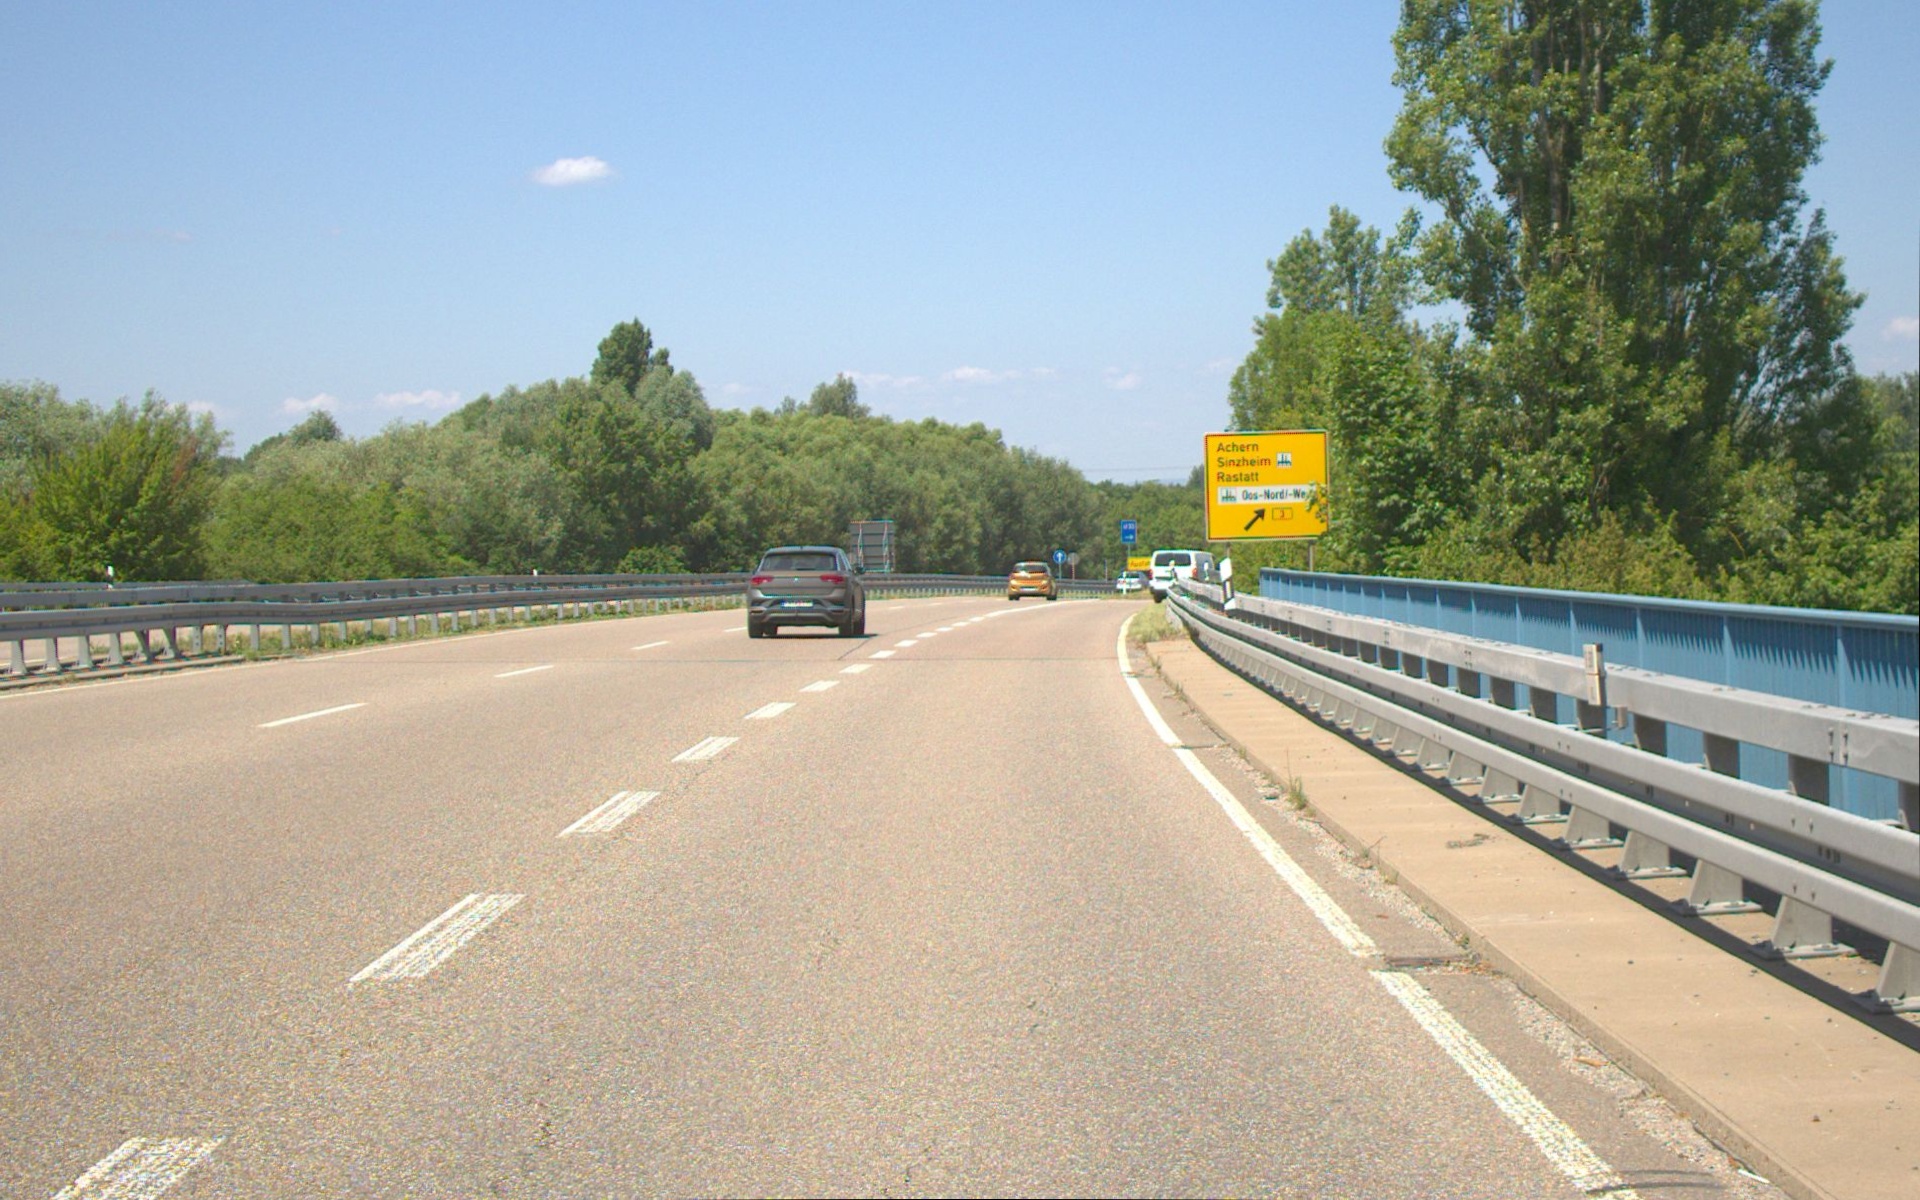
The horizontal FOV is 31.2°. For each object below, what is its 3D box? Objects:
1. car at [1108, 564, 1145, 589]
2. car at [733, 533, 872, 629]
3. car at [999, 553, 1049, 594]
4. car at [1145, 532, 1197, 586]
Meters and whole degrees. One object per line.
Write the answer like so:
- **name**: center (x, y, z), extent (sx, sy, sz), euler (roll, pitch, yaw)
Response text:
- **car**: center (10.109, -1.427, 208.209), extent (1.842, 1.446, 3.999), euler (1, 2, 8)
- **car**: center (-2.667, -0.358, 59.164), extent (1.841, 1.524, 4.469), euler (1, 2, 5)
- **car**: center (2.507, -1.038, 133.465), extent (1.841, 1.459, 4.000), euler (1, 2, 2)
- **car**: center (7.746, -1.535, 126.270), extent (1.841, 1.889, 4.000), euler (1, 2, 3)
